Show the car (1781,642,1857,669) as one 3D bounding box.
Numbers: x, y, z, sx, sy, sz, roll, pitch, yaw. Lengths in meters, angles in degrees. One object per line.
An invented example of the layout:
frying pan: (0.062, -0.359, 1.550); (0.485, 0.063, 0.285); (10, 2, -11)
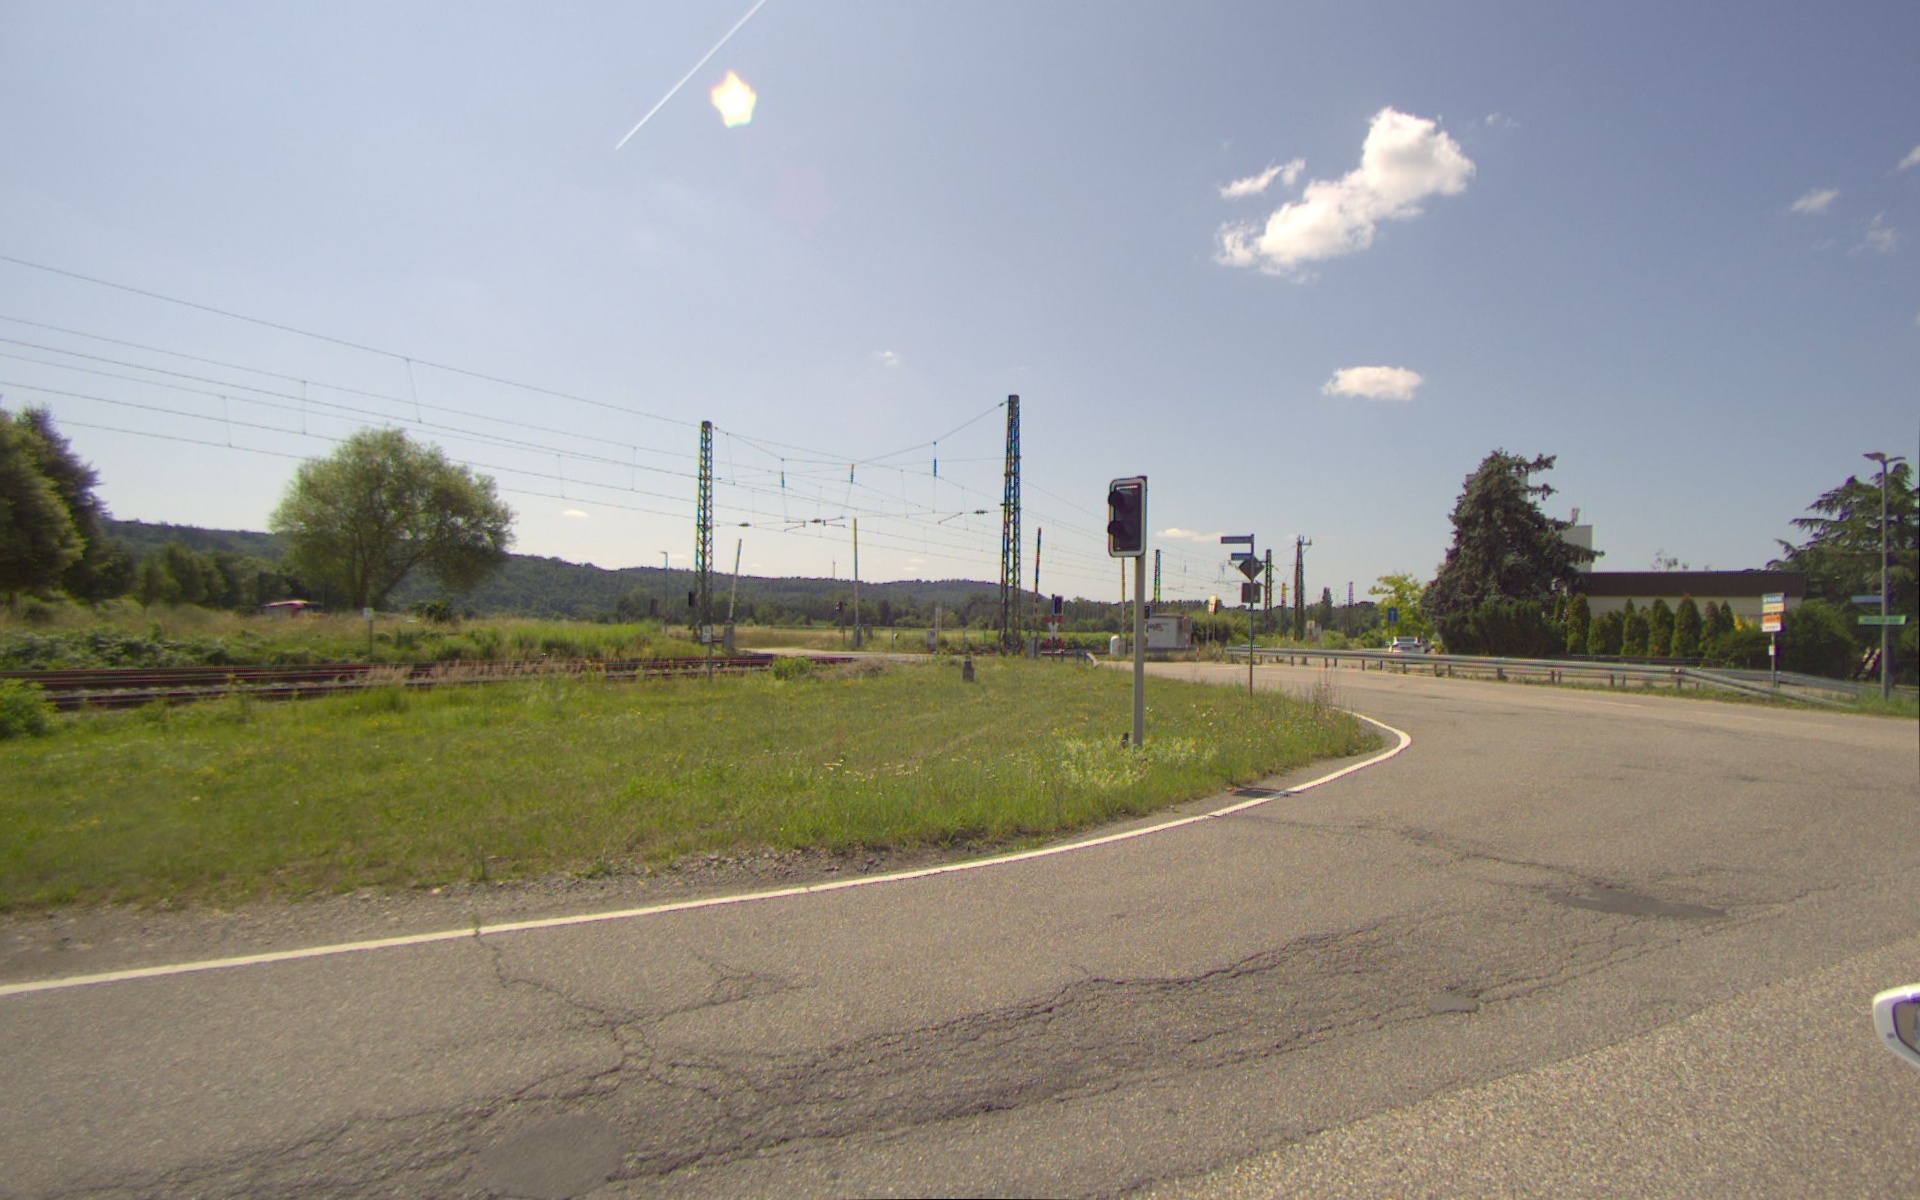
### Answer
car: (55.651, 3.562, 65.151); (3.470, 1.606, 1.564); (1, -1, 26)

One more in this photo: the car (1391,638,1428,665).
car: (27.123, 3.081, 60.687); (1.962, 1.530, 4.452); (0, -1, 23)
